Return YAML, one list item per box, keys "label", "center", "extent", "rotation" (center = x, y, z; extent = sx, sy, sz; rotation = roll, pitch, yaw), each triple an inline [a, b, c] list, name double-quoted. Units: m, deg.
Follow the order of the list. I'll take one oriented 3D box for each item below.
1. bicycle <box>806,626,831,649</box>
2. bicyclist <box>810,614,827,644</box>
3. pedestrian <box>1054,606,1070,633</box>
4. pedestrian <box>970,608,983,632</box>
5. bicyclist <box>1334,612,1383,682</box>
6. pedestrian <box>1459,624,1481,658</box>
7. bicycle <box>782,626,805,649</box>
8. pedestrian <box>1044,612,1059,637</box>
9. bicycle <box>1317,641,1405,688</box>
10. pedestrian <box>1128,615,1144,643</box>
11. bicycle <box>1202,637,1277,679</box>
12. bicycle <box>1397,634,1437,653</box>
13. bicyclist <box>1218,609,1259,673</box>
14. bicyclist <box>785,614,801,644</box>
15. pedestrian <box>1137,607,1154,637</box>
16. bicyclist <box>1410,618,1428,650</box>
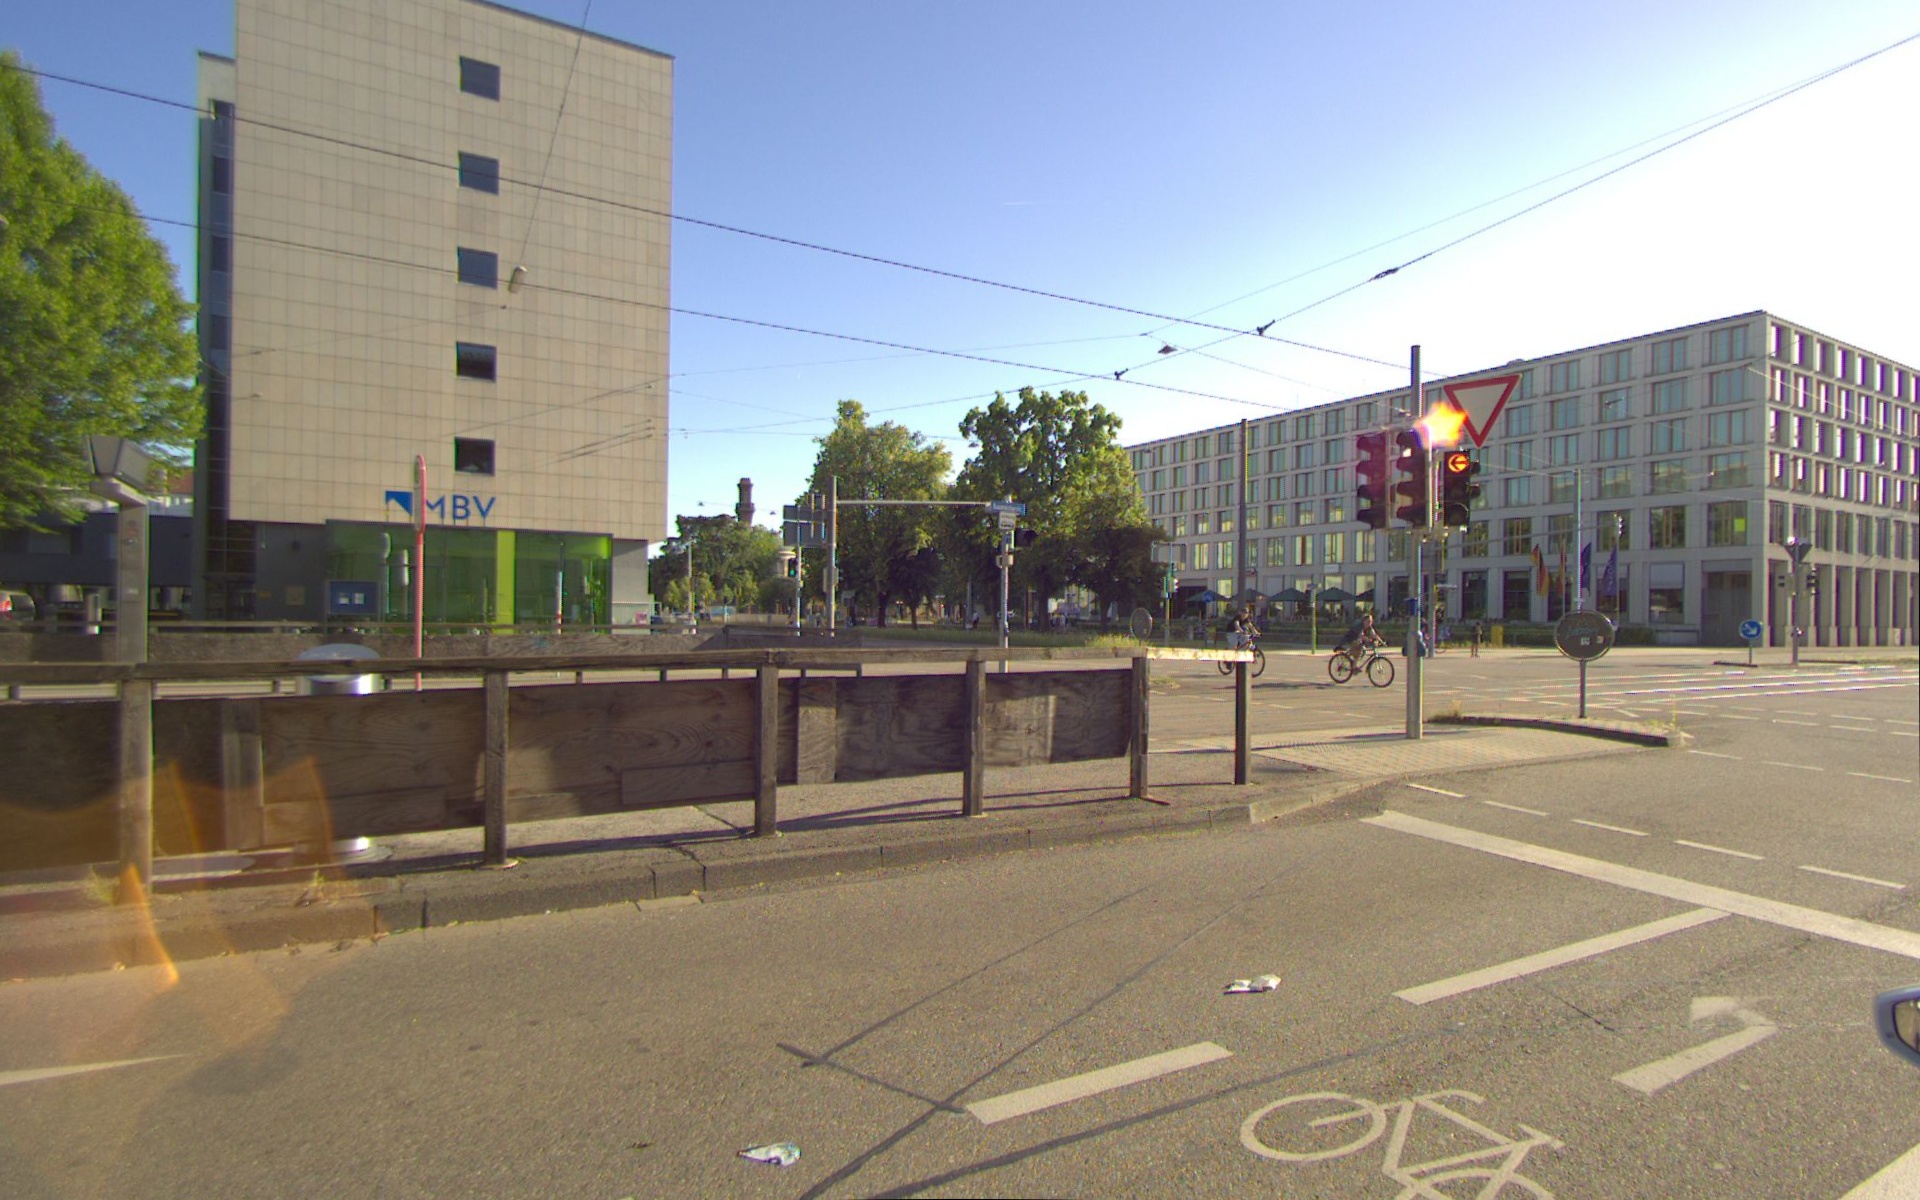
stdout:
- label: "bicycle"
  center: [-7.452, 1.960, 52.907]
  extent: [0.616, 1.148, 1.869]
  rotation: [1, -1, -31]
- label: "bicyclist"
  center: [-7.471, 1.521, 52.974]
  extent: [0.602, 1.544, 0.709]
  rotation: [1, -1, -32]
- label: "pedestrian"
  center: [7.863, 1.511, 77.413]
  extent: [0.814, 2.040, 0.839]
  rotation: [2, 0, -27]
- label: "pedestrian"
  center: [1.429, 1.745, 87.385]
  extent: [0.813, 2.040, 0.840]
  rotation: [2, 0, -25]
- label: "bicyclist"
  center: [8.678, 1.012, 21.886]
  extent: [0.611, 1.470, 0.793]
  rotation: [1, -1, -34]
- label: "pedestrian"
  center: [24.908, 1.993, 49.055]
  extent: [0.586, 1.610, 0.769]
  rotation: [1, -1, -38]
- label: "bicycle"
  center: [-8.639, 1.916, 52.078]
  extent: [0.574, 1.148, 1.776]
  rotation: [1, -1, -31]
- label: "pedestrian"
  center: [6.997, 1.877, 77.002]
  extent: [0.863, 1.925, 0.713]
  rotation: [2, 0, -27]
- label: "bicycle"
  center: [8.701, 1.382, 21.856]
  extent: [0.639, 0.947, 1.732]
  rotation: [1, -1, -34]
- label: "pedestrian"
  center: [12.182, 1.996, 69.562]
  extent: [0.861, 1.925, 0.715]
  rotation: [2, 0, -20]
- label: "bicycle"
  center: [6.836, 1.411, 24.645]
  extent: [0.554, 0.947, 1.846]
  rotation: [1, -1, -34]
- label: "bicycle"
  center: [23.481, 2.229, 51.686]
  extent: [1.827, 0.947, 0.763]
  rotation: [0, -1, 22]
- label: "bicyclist"
  center: [6.828, 1.005, 24.672]
  extent: [0.600, 1.544, 0.758]
  rotation: [1, -1, -34]
- label: "bicyclist"
  center: [-8.662, 1.521, 52.103]
  extent: [0.647, 1.544, 0.615]
  rotation: [1, -1, -32]
- label: "pedestrian"
  center: [13.007, 1.532, 70.354]
  extent: [0.812, 2.040, 0.841]
  rotation: [2, 0, -20]
- label: "bicyclist"
  center: [23.588, 1.726, 51.641]
  extent: [0.762, 1.610, 0.761]
  rotation: [0, -1, 22]
